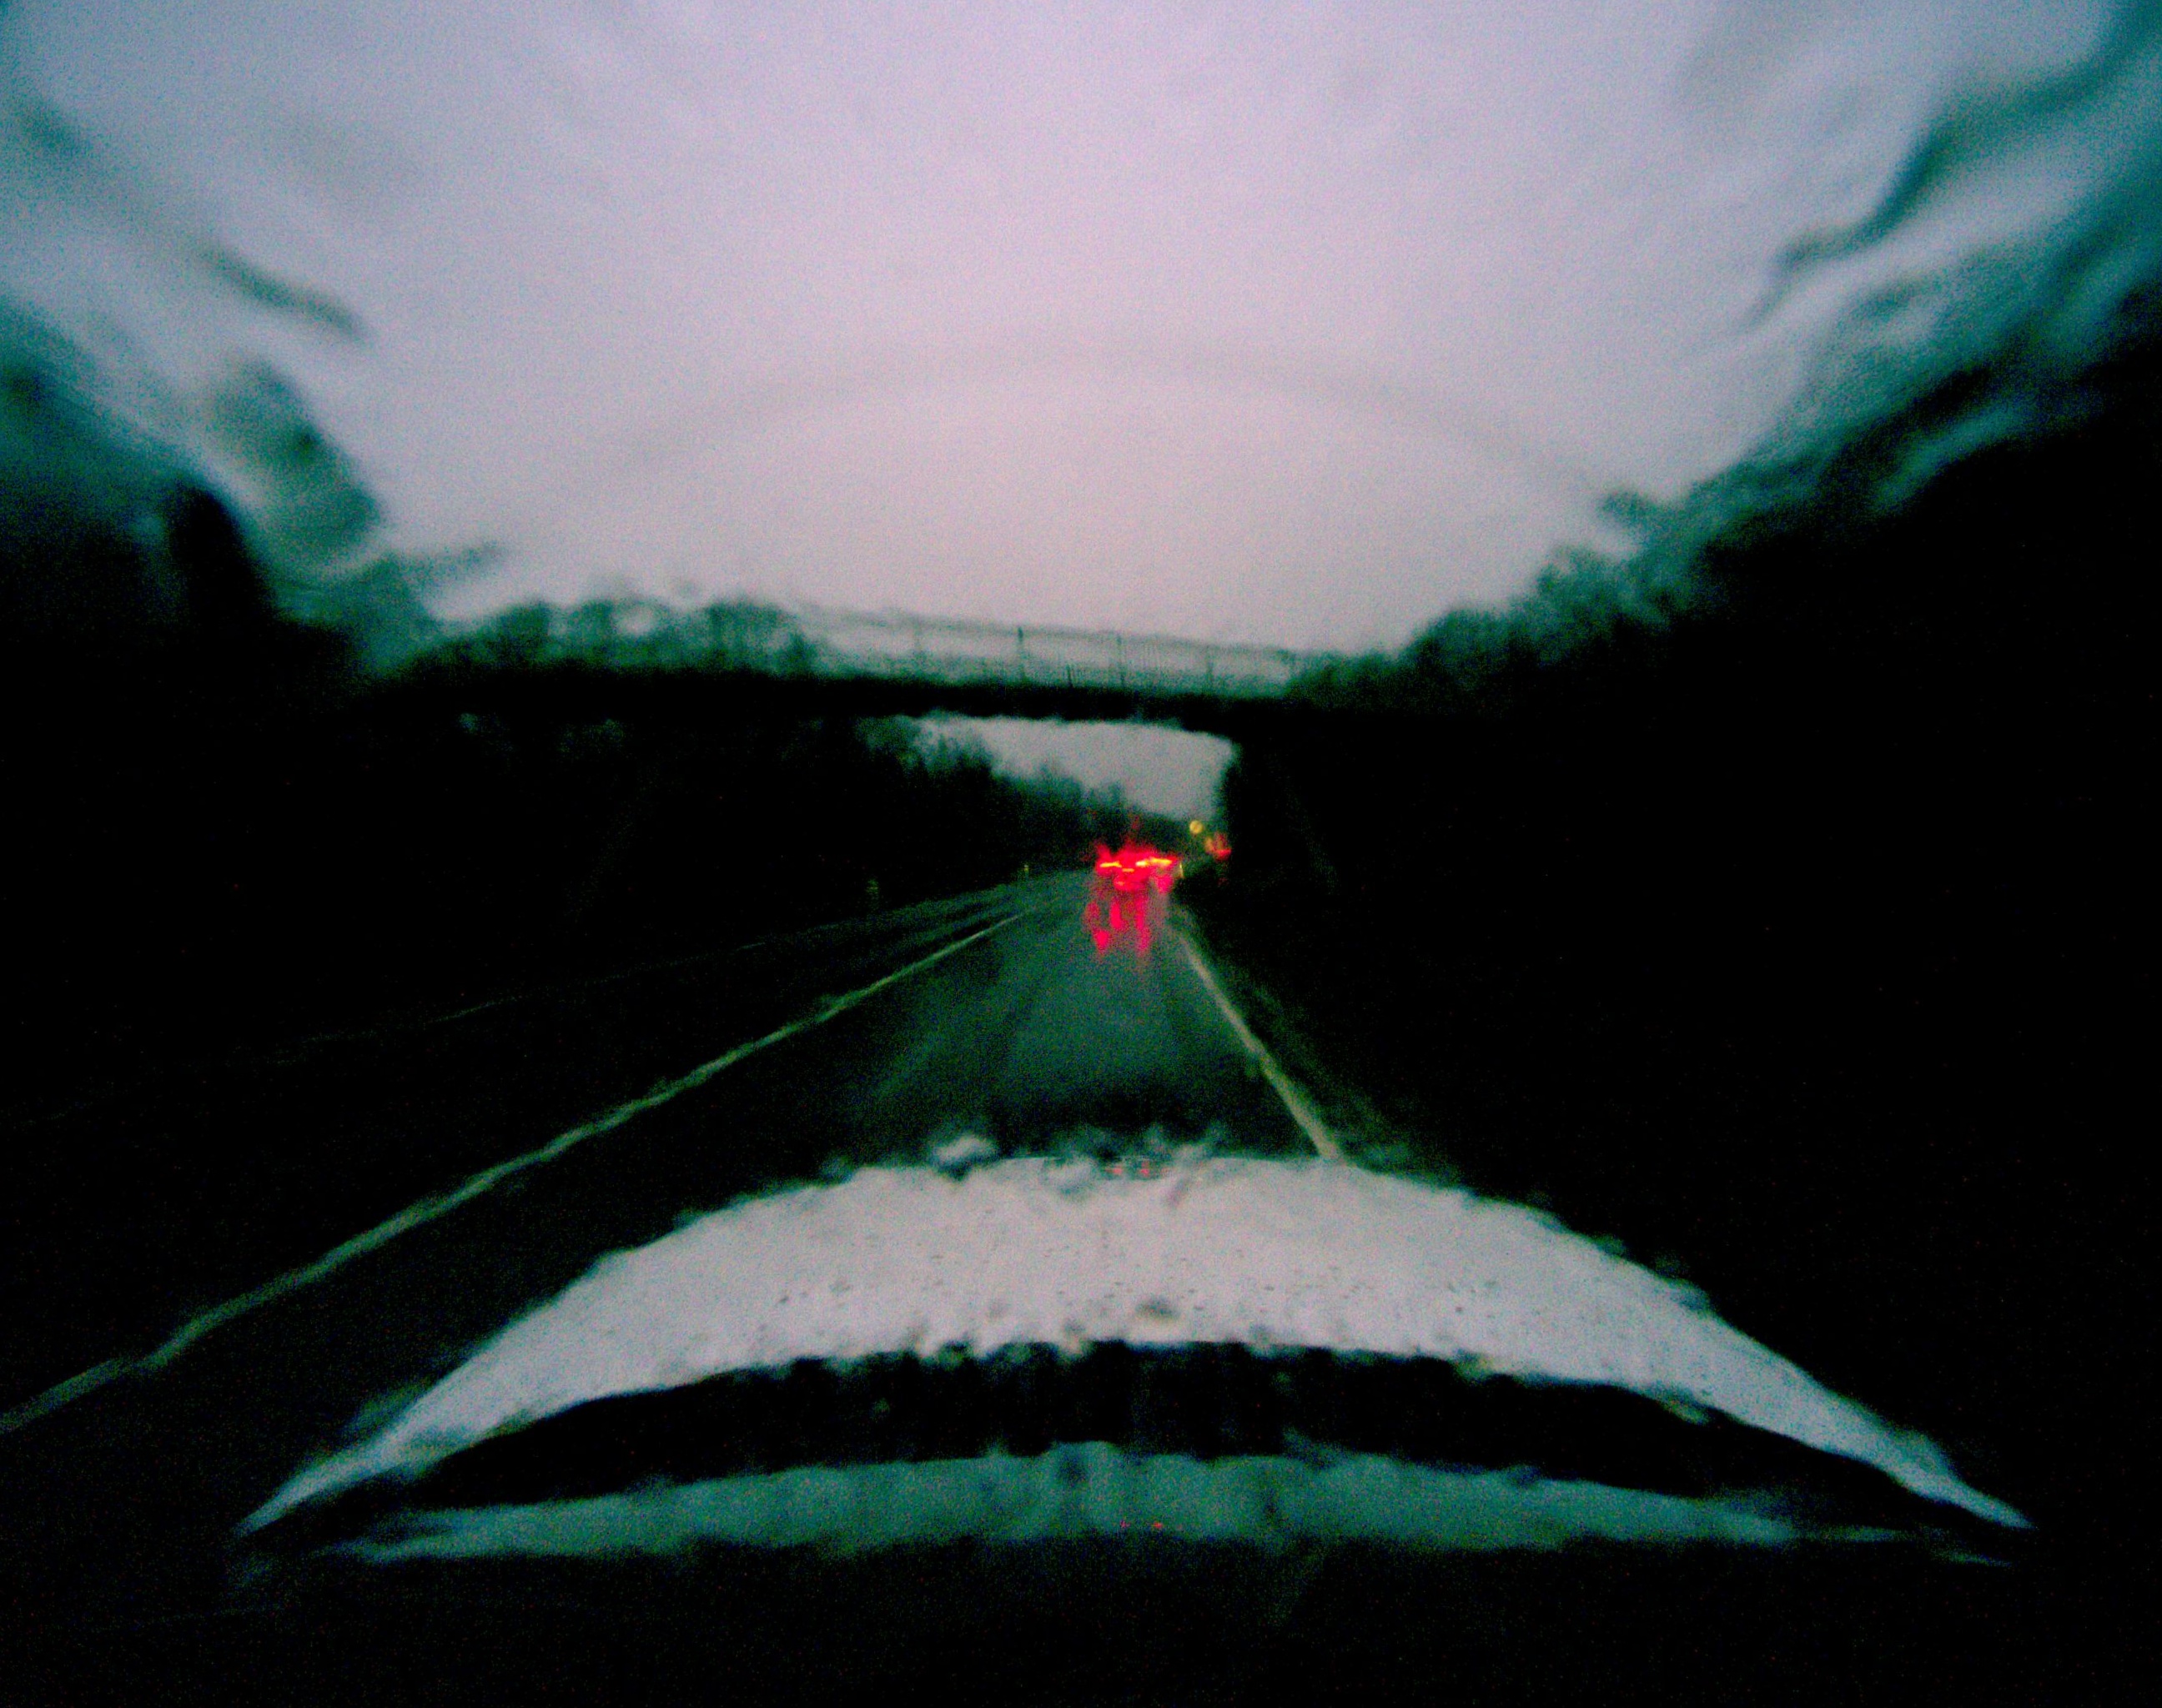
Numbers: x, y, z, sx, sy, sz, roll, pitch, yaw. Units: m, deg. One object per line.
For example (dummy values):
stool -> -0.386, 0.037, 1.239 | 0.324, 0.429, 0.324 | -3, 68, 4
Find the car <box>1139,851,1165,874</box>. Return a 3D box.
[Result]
car -> 5.373, 0.623, 61.178 | 1.669, 1.675, 4.107 | -2, 0, 8

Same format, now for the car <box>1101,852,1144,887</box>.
car -> 1.878, 0.659, 35.910 | 1.670, 1.389, 4.104 | -2, 0, 5
